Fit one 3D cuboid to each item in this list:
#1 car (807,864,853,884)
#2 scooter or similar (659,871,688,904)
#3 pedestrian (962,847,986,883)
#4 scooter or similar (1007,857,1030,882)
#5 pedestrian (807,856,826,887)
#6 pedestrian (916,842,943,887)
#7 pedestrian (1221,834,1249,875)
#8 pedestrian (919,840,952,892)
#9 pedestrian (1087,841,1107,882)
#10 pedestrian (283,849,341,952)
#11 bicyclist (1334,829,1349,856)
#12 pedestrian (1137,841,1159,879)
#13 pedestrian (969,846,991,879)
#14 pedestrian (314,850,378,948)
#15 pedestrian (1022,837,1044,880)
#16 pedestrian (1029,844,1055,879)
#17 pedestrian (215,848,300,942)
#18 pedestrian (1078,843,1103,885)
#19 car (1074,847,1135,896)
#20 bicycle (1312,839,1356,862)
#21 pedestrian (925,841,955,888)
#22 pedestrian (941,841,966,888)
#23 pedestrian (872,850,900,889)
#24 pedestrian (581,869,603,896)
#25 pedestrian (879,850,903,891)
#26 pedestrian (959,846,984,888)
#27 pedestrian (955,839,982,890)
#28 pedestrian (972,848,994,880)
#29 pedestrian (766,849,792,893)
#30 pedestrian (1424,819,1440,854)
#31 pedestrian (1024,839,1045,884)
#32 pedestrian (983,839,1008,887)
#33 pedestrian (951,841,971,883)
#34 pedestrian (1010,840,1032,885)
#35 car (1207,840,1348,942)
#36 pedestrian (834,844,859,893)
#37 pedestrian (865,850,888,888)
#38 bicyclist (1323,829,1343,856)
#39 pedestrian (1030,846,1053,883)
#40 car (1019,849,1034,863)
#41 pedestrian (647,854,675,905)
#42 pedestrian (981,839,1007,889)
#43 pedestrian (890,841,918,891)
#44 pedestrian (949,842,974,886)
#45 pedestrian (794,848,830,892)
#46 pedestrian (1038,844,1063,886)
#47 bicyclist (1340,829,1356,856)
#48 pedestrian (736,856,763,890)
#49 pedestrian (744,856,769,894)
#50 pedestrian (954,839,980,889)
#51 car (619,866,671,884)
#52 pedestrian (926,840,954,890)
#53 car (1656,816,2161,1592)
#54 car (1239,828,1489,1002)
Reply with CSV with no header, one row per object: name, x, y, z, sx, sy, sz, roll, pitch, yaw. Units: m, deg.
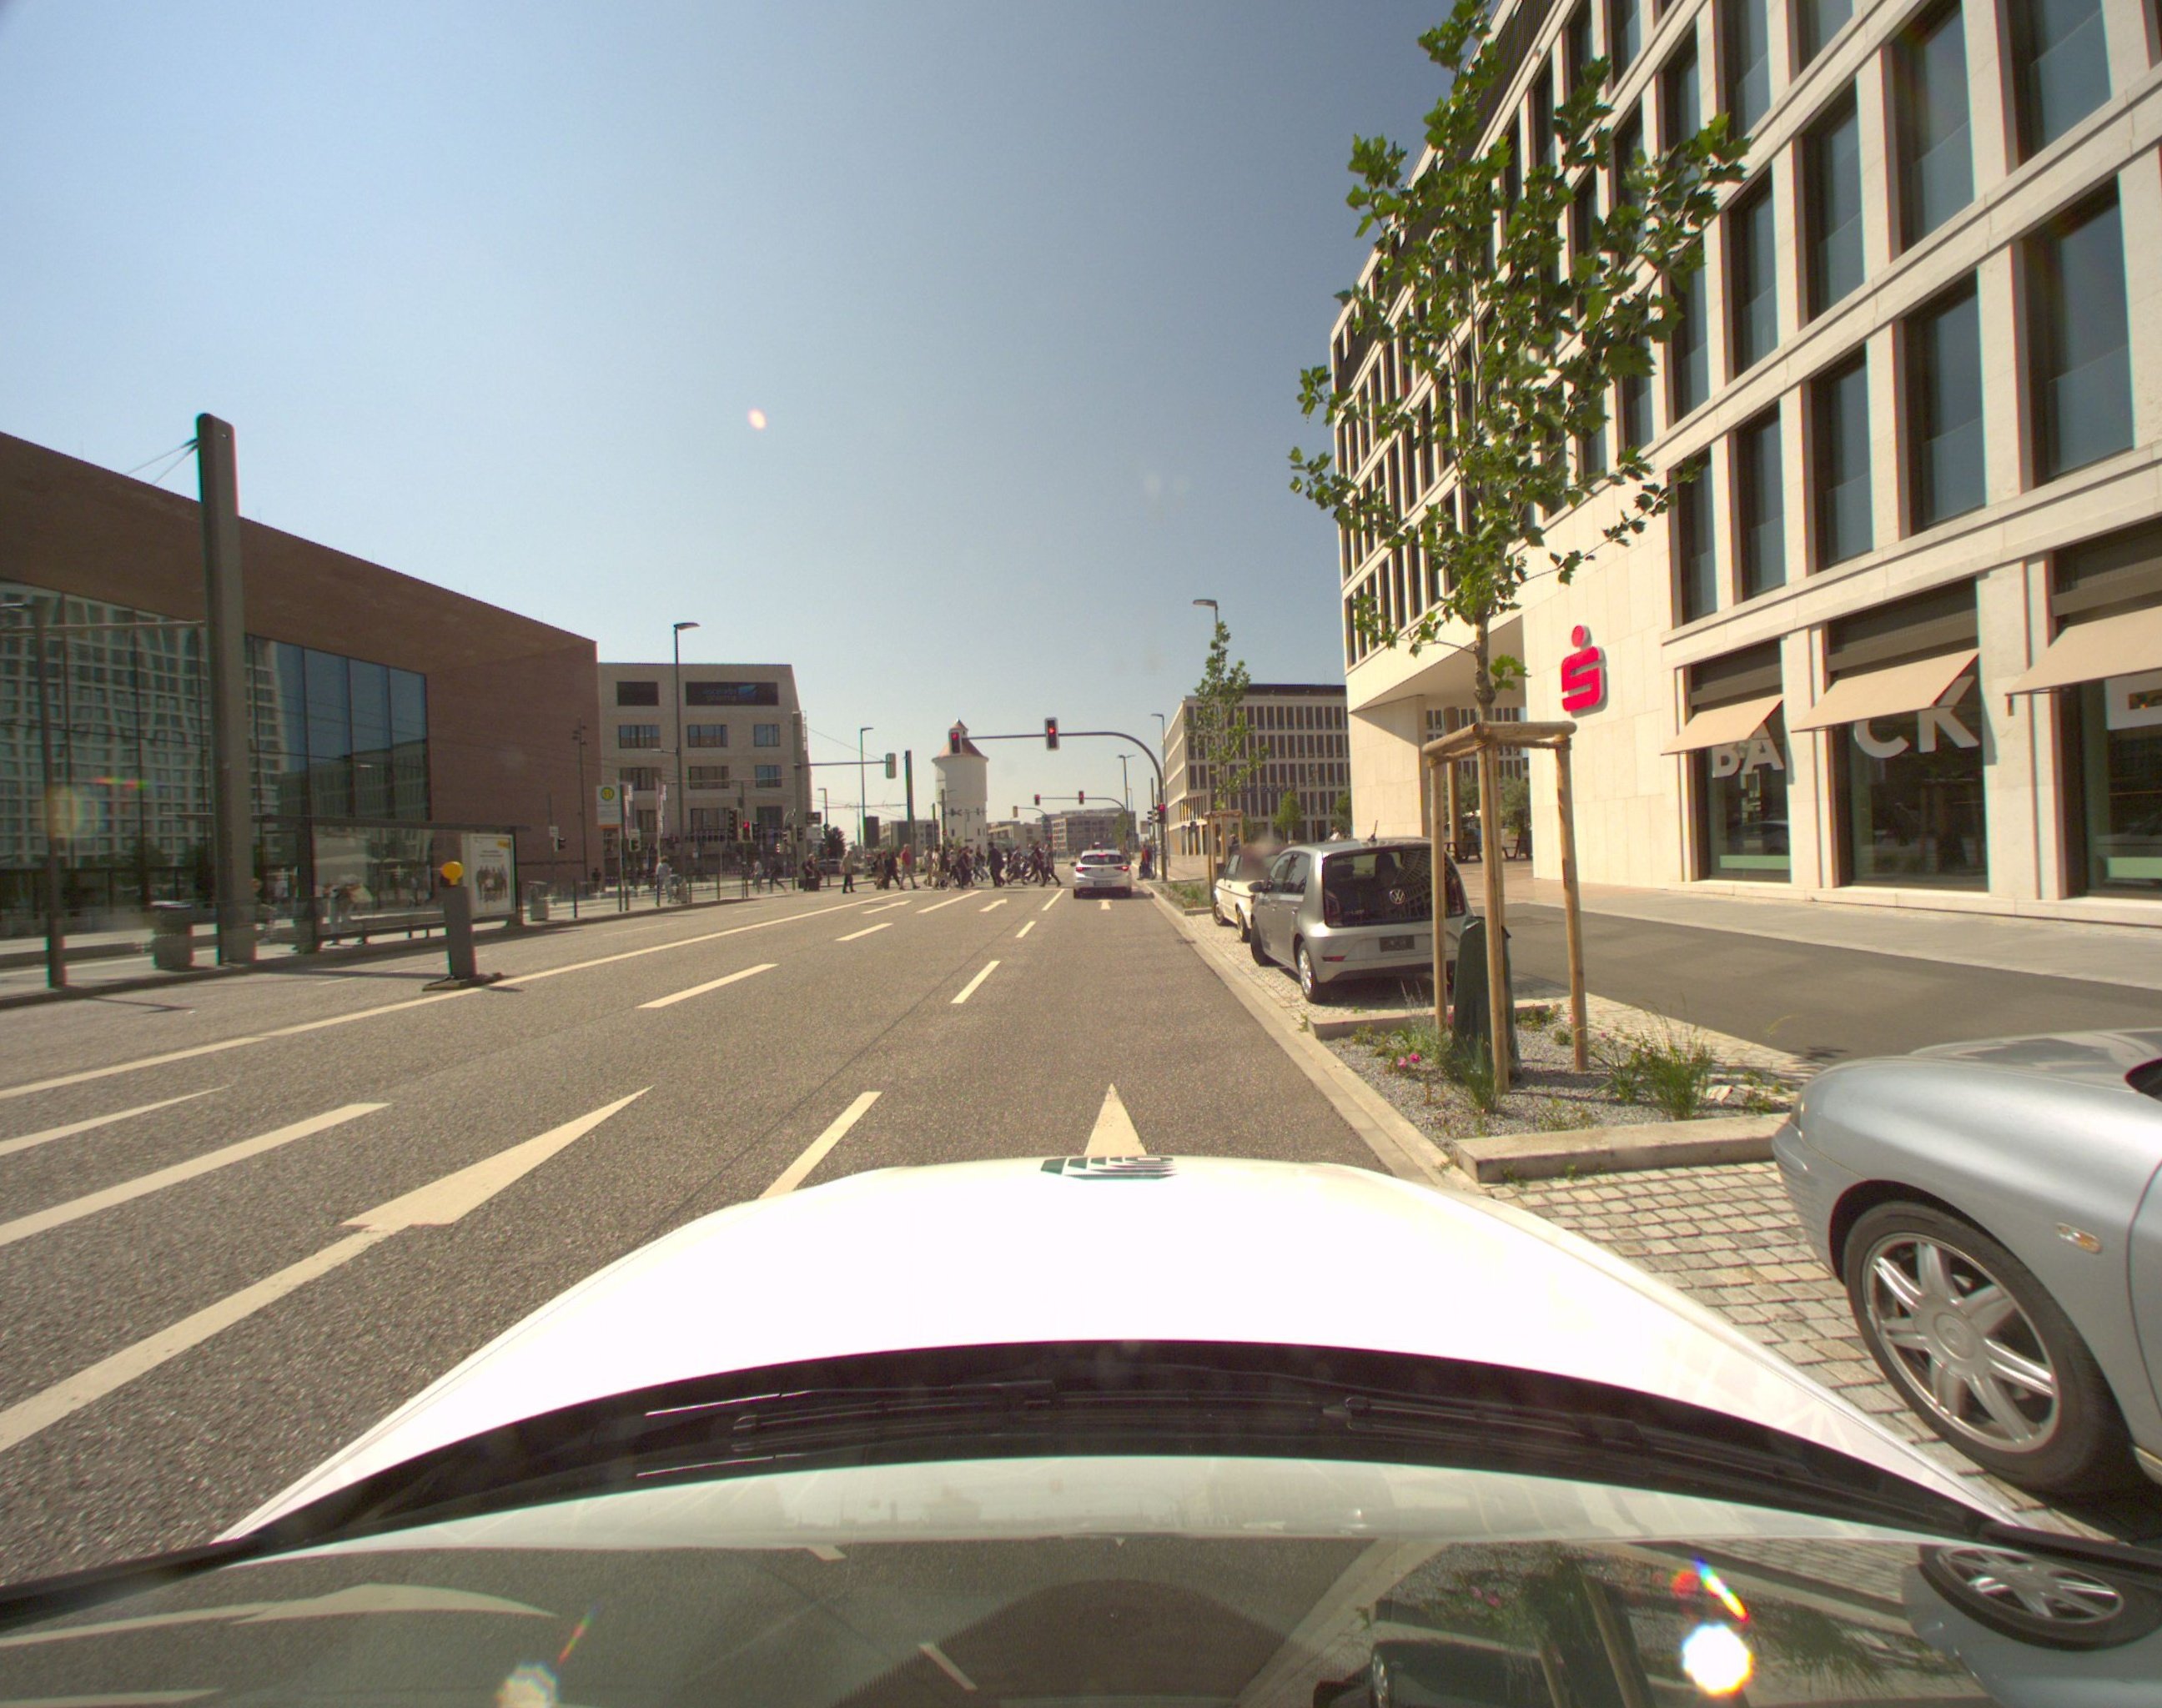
car,-24.060,1.929,78.085,3.942,1.816,1.792,-1,-1,-11
scooter or similar,-13.731,1.114,27.445,0.502,1.059,0.834,-2,0,2
pedestrian,-5.019,0.492,38.208,0.883,1.646,0.798,-2,0,5
scooter or similar,-2.864,0.695,37.193,0.950,1.118,0.765,-2,0,-8
pedestrian,-14.840,0.966,45.730,0.663,1.681,0.700,-2,0,42
pedestrian,-6.524,0.458,35.136,0.883,1.890,0.798,-2,0,6
pedestrian,6.390,0.027,33.760,0.986,1.655,0.692,-2,0,3
pedestrian,-5.452,0.427,30.490,1.010,1.890,0.798,-2,0,-1
pedestrian,0.712,0.339,35.435,0.763,1.734,0.692,-2,0,2
pedestrian,-14.015,0.830,14.848,0.551,1.820,0.596,-1,0,-20
bicyclist,13.598,-0.602,42.506,0.358,1.360,0.911,-2,0,-9
pedestrian,2.986,0.245,36.125,0.883,1.646,0.798,-2,0,5
pedestrian,-5.142,0.430,41.627,0.883,1.646,0.798,-2,0,5
pedestrian,-14.043,0.832,15.580,0.665,1.820,0.718,-1,0,-21
pedestrian,-2.111,0.201,36.171,0.837,1.890,0.692,-2,0,2
pedestrian,-2.078,0.400,43.906,1.175,1.820,1.070,-2,0,5
pedestrian,-16.334,0.792,16.172,0.808,1.820,0.825,-1,0,2
pedestrian,0.367,0.403,32.558,0.760,1.619,0.695,-2,0,18
car,0.791,0.538,25.349,1.764,1.395,3.535,-1,-1,3
bicycle,13.188,-0.190,42.428,1.962,1.083,0.902,-2,0,-10
pedestrian,-5.882,0.429,34.025,0.881,1.890,0.799,-2,0,14
pedestrian,-5.163,0.413,33.108,0.726,1.890,0.822,-2,0,7
pedestrian,-8.636,0.680,36.091,0.906,1.637,0.815,-2,0,6
pedestrian,-29.102,1.702,48.483,0.708,1.571,0.891,-2,0,1
pedestrian,-7.685,0.642,33.005,0.630,1.618,0.770,-2,0,7
pedestrian,-4.516,0.528,33.697,0.790,1.646,0.891,-2,0,3
pedestrian,-4.318,0.389,31.271,0.886,1.890,0.691,-2,0,-4
pedestrian,-5.136,0.522,42.659,0.883,1.646,0.798,-2,0,5
pedestrian,-14.192,0.802,38.274,1.022,2.013,0.949,-2,0,-17
pedestrian,20.339,-1.019,47.199,0.641,2.013,0.622,-2,0,1
pedestrian,-2.001,0.317,35.363,0.763,1.890,0.692,-2,0,2
pedestrian,-3.465,0.356,32.927,0.886,1.890,0.795,-2,0,-4
pedestrian,-5.418,0.370,36.858,0.730,1.890,0.715,-1,0,6
pedestrian,-2.553,0.351,34.619,0.763,1.890,0.692,-2,0,2
car,3.097,0.511,13.536,1.424,1.390,4.002,-2,0,2
pedestrian,-9.265,0.567,32.146,0.634,1.890,0.797,-2,0,3
pedestrian,-8.644,0.633,34.455,0.724,1.576,0.642,-2,0,6
bicyclist,13.111,-0.586,42.417,0.616,1.360,0.898,-2,0,-10
pedestrian,-1.818,0.460,37.353,0.887,1.646,0.794,-2,0,-8
car,-6.580,0.263,98.813,1.581,1.530,3.693,-1,-1,0
pedestrian,-13.755,0.833,26.676,0.502,1.621,0.650,-2,0,1
pedestrian,-3.414,0.383,32.116,0.886,1.890,0.795,-2,0,-4
pedestrian,-6.923,0.463,31.949,0.886,1.890,0.691,-2,0,-4
pedestrian,-5.197,0.427,35.499,0.884,1.890,0.797,-2,0,1
pedestrian,-12.231,0.708,37.040,1.164,1.890,1.061,-2,2,3
pedestrian,-1.217,0.432,32.226,0.886,1.635,0.691,-2,0,-4
bicyclist,13.956,-0.605,42.582,0.358,1.360,0.899,-2,0,-9
pedestrian,-18.988,1.077,46.638,0.880,1.890,0.989,-2,0,21
pedestrian,-15.074,0.958,37.835,0.895,1.674,1.007,-2,0,-17
pedestrian,-4.491,0.392,32.089,0.886,1.890,0.691,-2,0,-4
car,-41.212,1.975,77.084,3.883,1.486,1.680,-2,0,-9
pedestrian,-5.475,0.431,31.635,0.886,1.890,0.691,-2,0,-4
car,2.734,0.629,0.856,1.599,1.387,3.816,-3,0,2
car,2.820,0.522,8.883,1.550,1.472,3.471,-2,0,1
